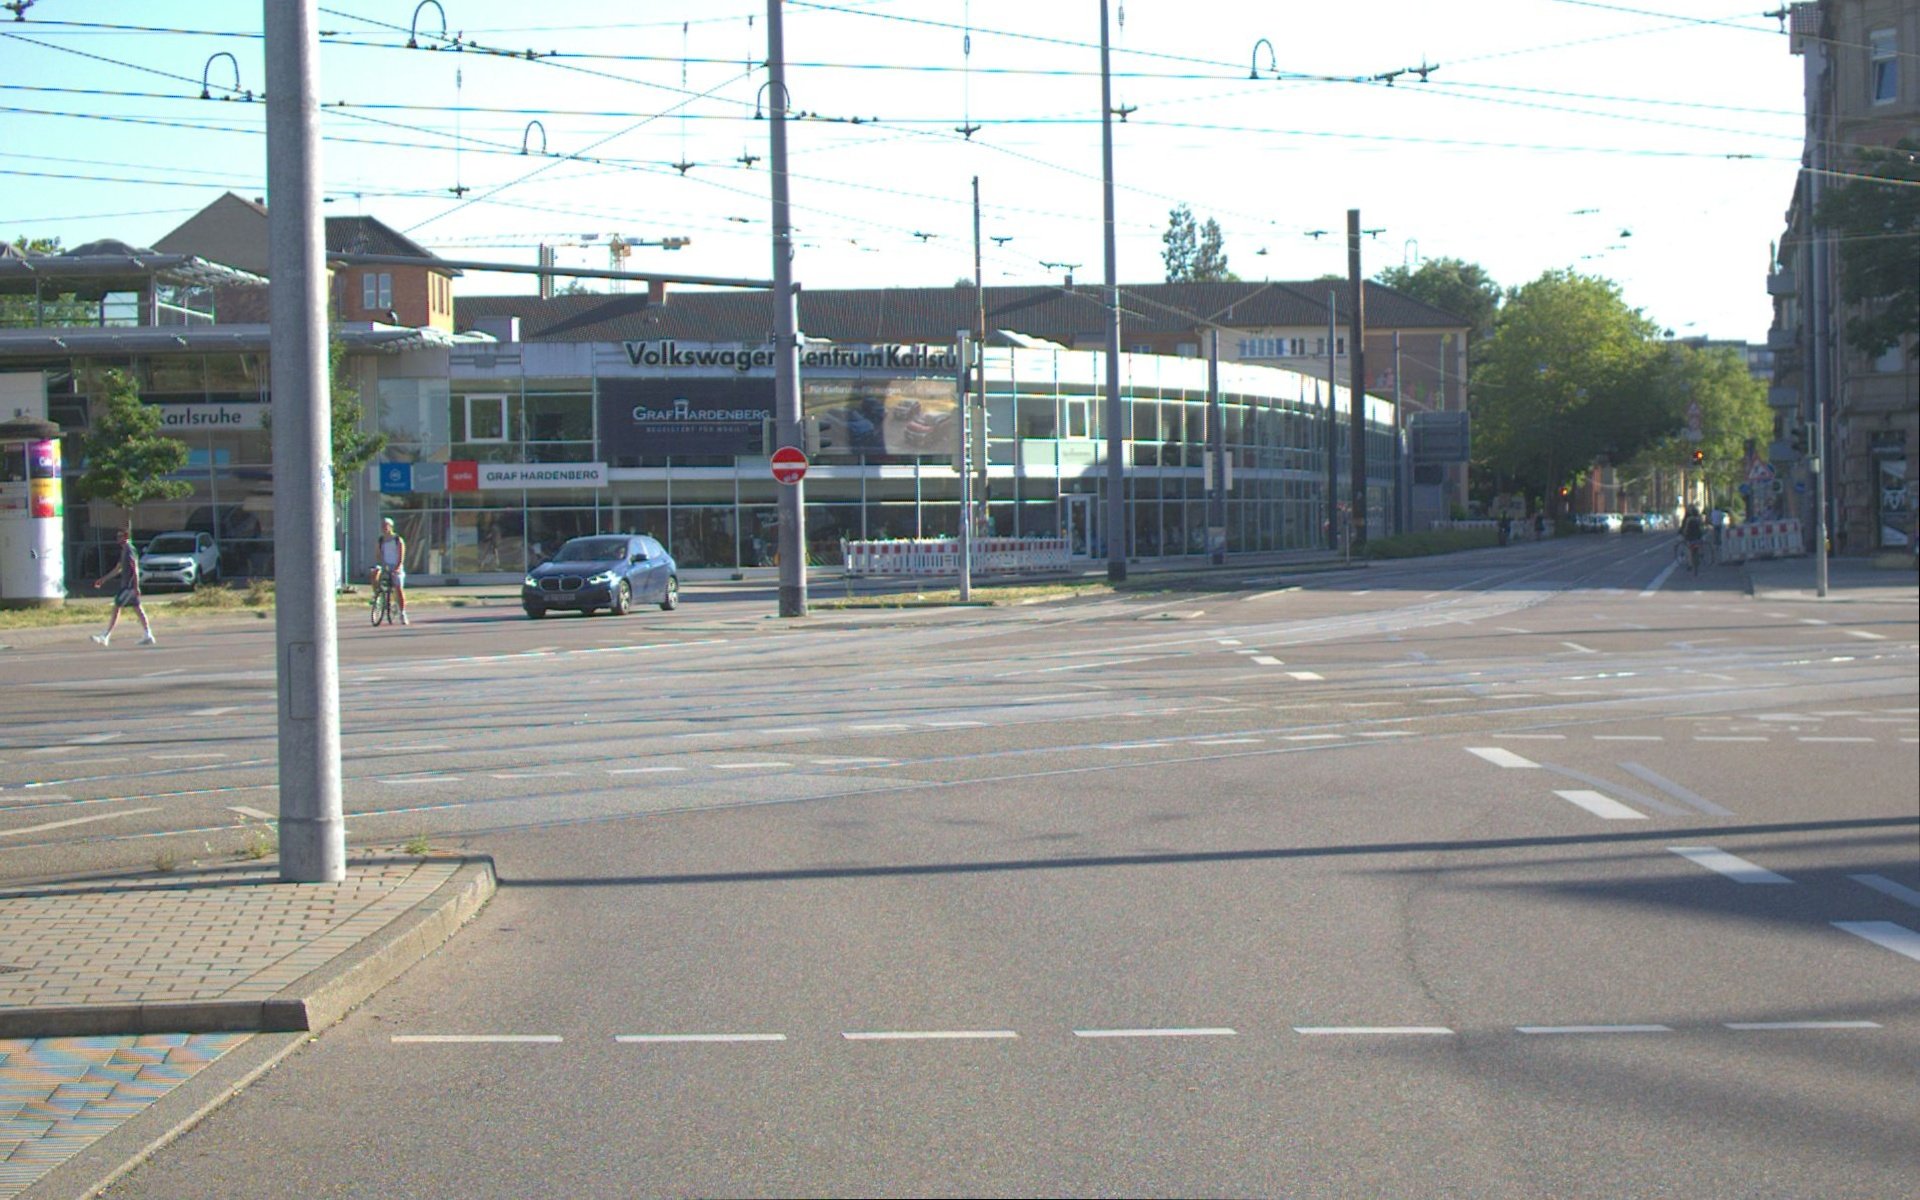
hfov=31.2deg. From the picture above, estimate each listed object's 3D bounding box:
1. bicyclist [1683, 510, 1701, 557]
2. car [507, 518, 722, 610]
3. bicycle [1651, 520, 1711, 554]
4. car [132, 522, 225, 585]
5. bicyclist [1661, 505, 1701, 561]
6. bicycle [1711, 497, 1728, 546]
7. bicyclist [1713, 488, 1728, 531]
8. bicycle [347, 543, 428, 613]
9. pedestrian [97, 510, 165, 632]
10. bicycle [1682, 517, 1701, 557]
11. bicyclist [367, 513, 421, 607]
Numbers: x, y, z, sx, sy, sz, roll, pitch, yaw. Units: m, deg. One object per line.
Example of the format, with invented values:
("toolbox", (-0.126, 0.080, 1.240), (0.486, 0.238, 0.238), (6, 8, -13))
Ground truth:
("bicyclist", (17.479, -1.583, 82.093), (0.408, 1.112, 0.399), (1, 0, 11))
("car", (-6.152, -0.632, 61.619), (1.996, 1.579, 3.994), (1, 1, 27))
("bicycle", (20.386, -1.782, 97.232), (0.657, 0.949, 1.600), (0, 1, -36))
("car", (-22.576, -1.338, 99.417), (1.993, 1.744, 4.001), (1, 1, -4))
("bicyclist", (20.393, -1.893, 97.230), (0.771, 1.571, 0.761), (0, 1, -37))
("bicycle", (31.896, -3.273, 144.332), (0.618, 2.007, 2.398), (1, 0, 13))
("bicyclist", (31.945, -3.792, 144.449), (0.599, 1.803, 0.827), (1, 0, 13))
("bicycle", (-9.922, -0.383, 59.637), (0.613, 1.185, 1.867), (1, 1, 17))
("pedestrian", (-12.869, -0.452, 53.389), (0.795, 1.880, 0.758), (1, 0, 7))
("bicycle", (17.447, -1.501, 81.983), (0.410, 0.938, 1.844), (1, 1, 12))
("bicyclist", (-9.849, -0.697, 59.848), (0.598, 1.610, 0.822), (1, 0, 17))
